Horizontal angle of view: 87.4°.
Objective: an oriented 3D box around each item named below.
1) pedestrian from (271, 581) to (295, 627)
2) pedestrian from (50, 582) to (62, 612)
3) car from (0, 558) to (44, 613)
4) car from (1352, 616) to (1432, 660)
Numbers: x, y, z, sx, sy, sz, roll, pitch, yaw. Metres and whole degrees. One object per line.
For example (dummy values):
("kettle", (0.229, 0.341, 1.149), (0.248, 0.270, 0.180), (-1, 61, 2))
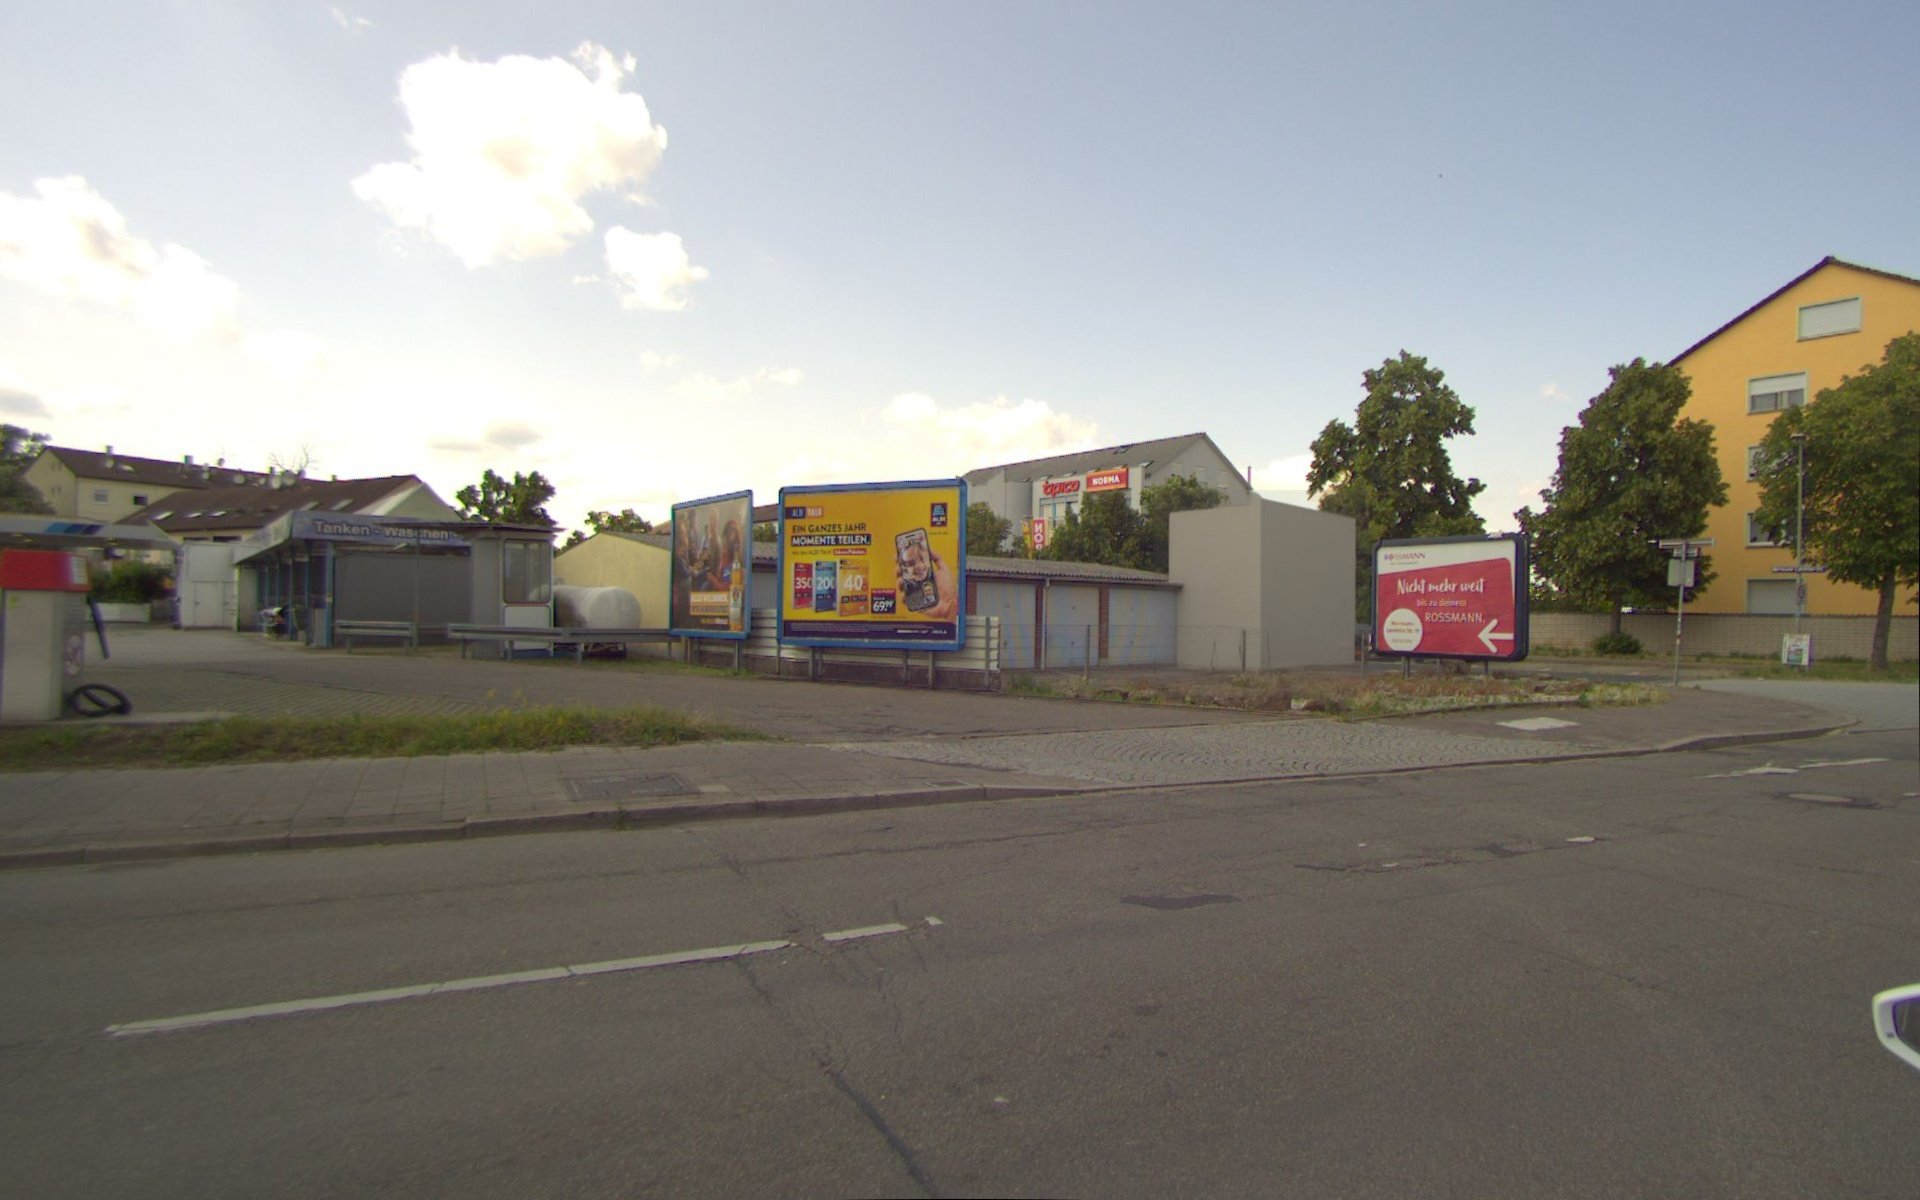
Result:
("pedestrian", (-23.277, 0.137, 34.542), (0.649, 1.565, 0.618), (1, 0, -32))
("pedestrian", (-46.276, -0.158, 51.439), (0.420, 1.544, 0.326), (0, -3, 41))
("car", (-44.854, -0.667, 47.739), (1.742, 2.486, 5.682), (1, 0, -40))
("car", (17.802, 1.522, 41.329), (3.874, 1.613, 1.631), (-1, 0, -44))
